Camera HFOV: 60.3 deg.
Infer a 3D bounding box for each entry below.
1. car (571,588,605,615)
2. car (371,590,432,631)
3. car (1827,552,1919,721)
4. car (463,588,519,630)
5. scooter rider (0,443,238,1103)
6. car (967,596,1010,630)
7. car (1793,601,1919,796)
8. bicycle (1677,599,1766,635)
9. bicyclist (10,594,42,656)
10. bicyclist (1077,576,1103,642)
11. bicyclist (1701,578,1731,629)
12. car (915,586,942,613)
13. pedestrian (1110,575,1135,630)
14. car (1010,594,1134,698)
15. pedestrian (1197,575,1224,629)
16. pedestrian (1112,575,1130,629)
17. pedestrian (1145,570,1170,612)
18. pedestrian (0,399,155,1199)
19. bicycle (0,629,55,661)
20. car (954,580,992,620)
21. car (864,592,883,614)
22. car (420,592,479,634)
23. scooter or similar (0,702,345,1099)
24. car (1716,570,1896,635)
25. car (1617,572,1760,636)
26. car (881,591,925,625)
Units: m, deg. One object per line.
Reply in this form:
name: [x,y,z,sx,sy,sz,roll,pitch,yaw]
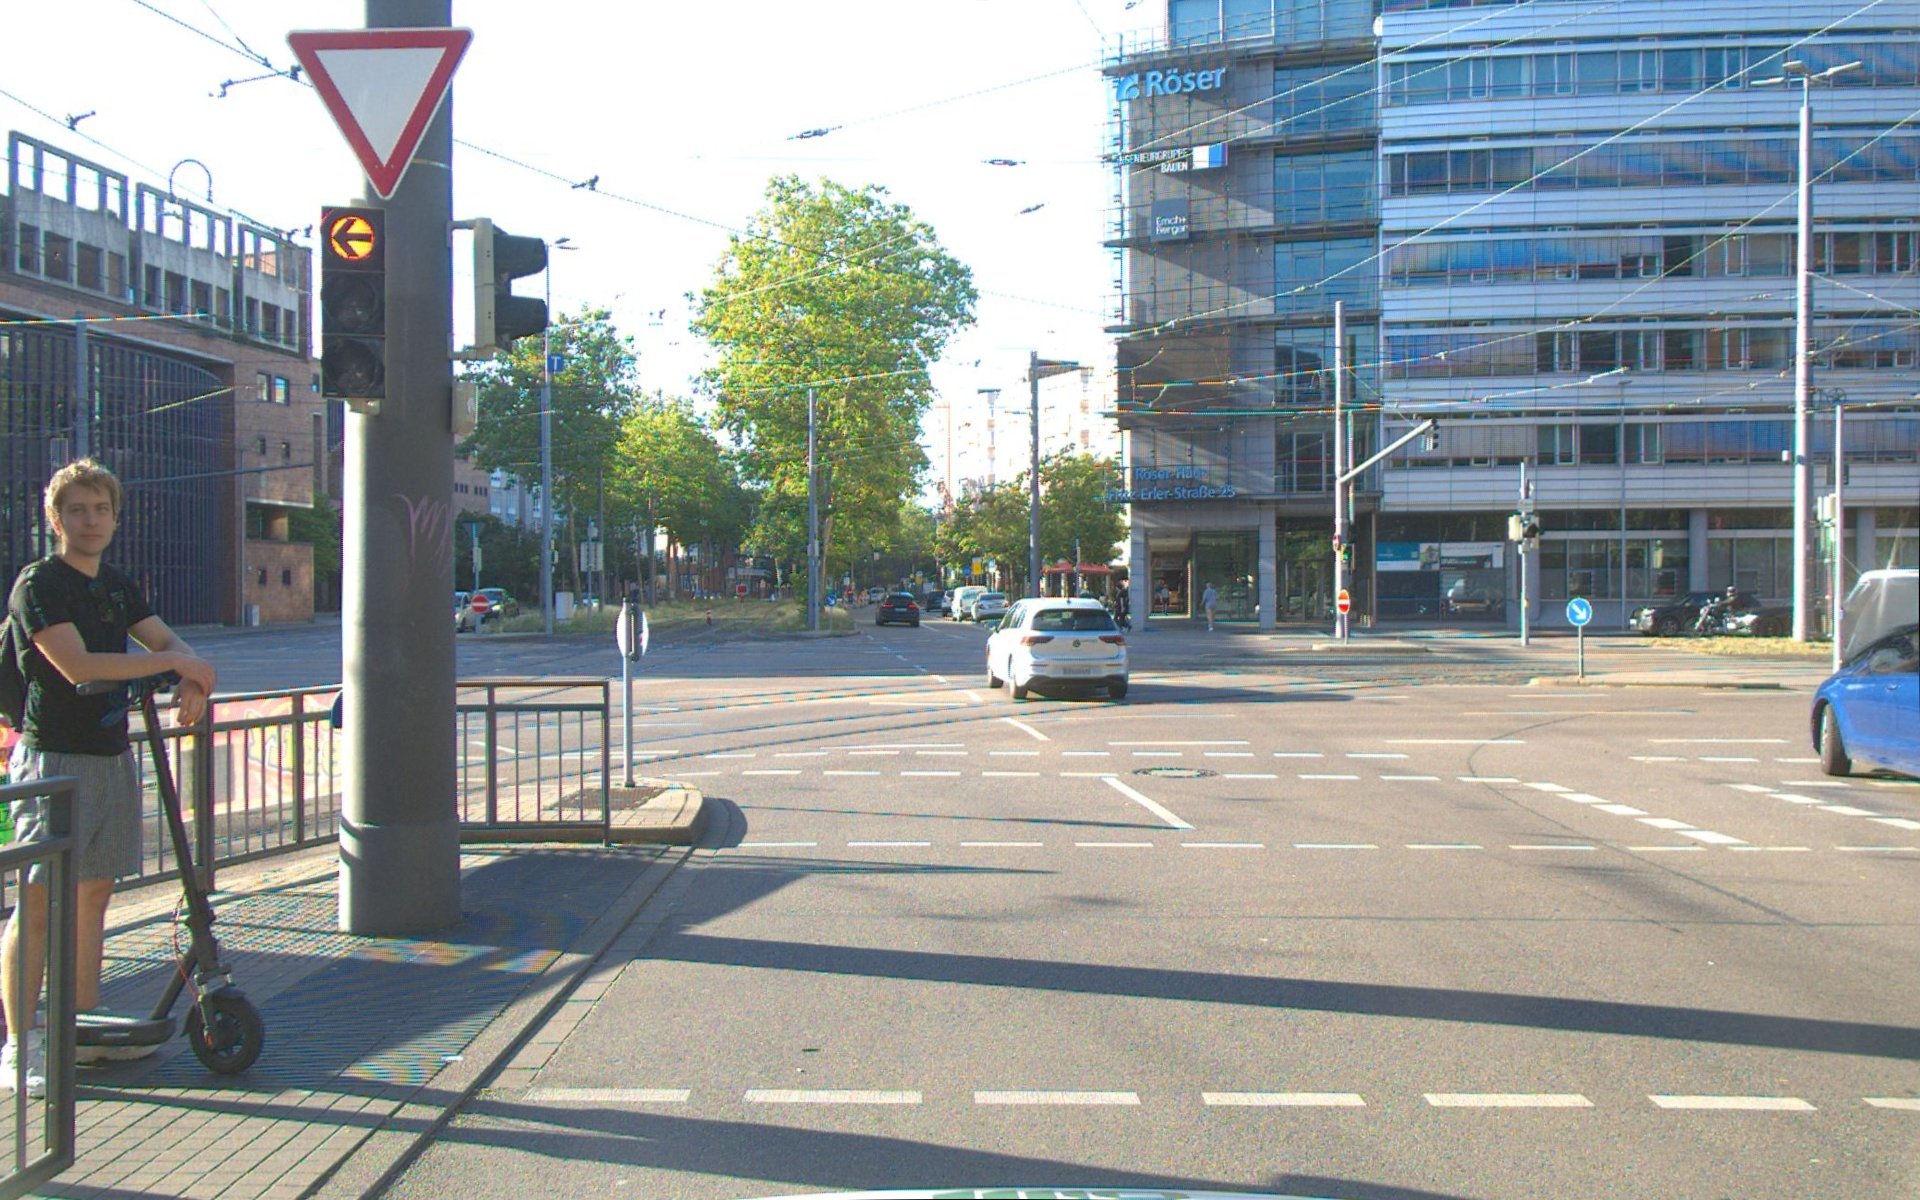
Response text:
car: [-23.867,0.104,106.137,1.644,1.635,3.994,1,0,-7]
car: [-24.990,0.449,74.093,1.832,1.793,3.993,1,0,-8]
car: [12.998,0.417,20.048,4.807,1.929,1.991,0,0,-26]
car: [-21.162,0.385,74.700,1.787,1.821,3.994,-1,0,-7]
scooter rider: [-2.666,0.502,5.091,0.554,1.885,0.680,-1,-2,4]
car: [1.391,0.641,82.642,1.988,1.624,3.999,1,0,-1]
car: [8.307,0.769,13.189,1.710,1.485,4.216,1,0,8]
bicycle: [22.935,0.504,49.819,2.359,1.040,0.637,-1,0,4]
bicyclist: [-24.989,0.669,44.249,0.575,1.654,0.514,-1,0,-5]
bicyclist: [2.972,0.204,37.897,0.477,1.464,0.615,2,1,-1]
bicyclist: [22.782,0.103,49.835,0.649,1.529,0.613,-1,0,4]
car: [-2.392,-0.038,126.696,1.953,2.049,3.999,1,0,-1]
pedestrian: [6.196,0.098,62.979,0.832,2.049,0.707,1,-1,-2]
car: [1.649,0.643,25.446,1.712,1.443,4.001,0,0,1]
pedestrian: [9.563,0.083,63.158,0.852,2.049,0.793,1,-2,-1]
pedestrian: [6.069,0.075,62.399,0.574,2.049,0.620,1,-1,0]
pedestrian: [10.757,-0.474,90.101,1.285,2.228,1.171,1,-1,5]
pedestrian: [-2.799,0.494,4.101,1.143,1.917,0.854,-1,0,4]
bicycle: [-24.982,1.184,44.253,0.578,0.784,1.966,-1,0,-5]
car: [0.685,0.007,89.634,1.953,2.049,3.999,1,0,-1]
car: [-9.977,0.387,190.839,1.952,2.049,3.998,1,-6,0]
car: [-20.632,0.509,66.957,1.591,1.604,3.994,-1,0,-7]
scooter or similar: [-2.621,0.892,5.109,1.177,1.100,0.648,-1,0,3]
car: [24.082,0.070,47.208,4.165,1.753,1.885,-1,0,2]
car: [24.377,0.131,55.429,3.906,2.049,2.000,1,0,-1]
car: [-2.515,0.311,71.918,1.729,1.429,4.292,0,0,-5]
